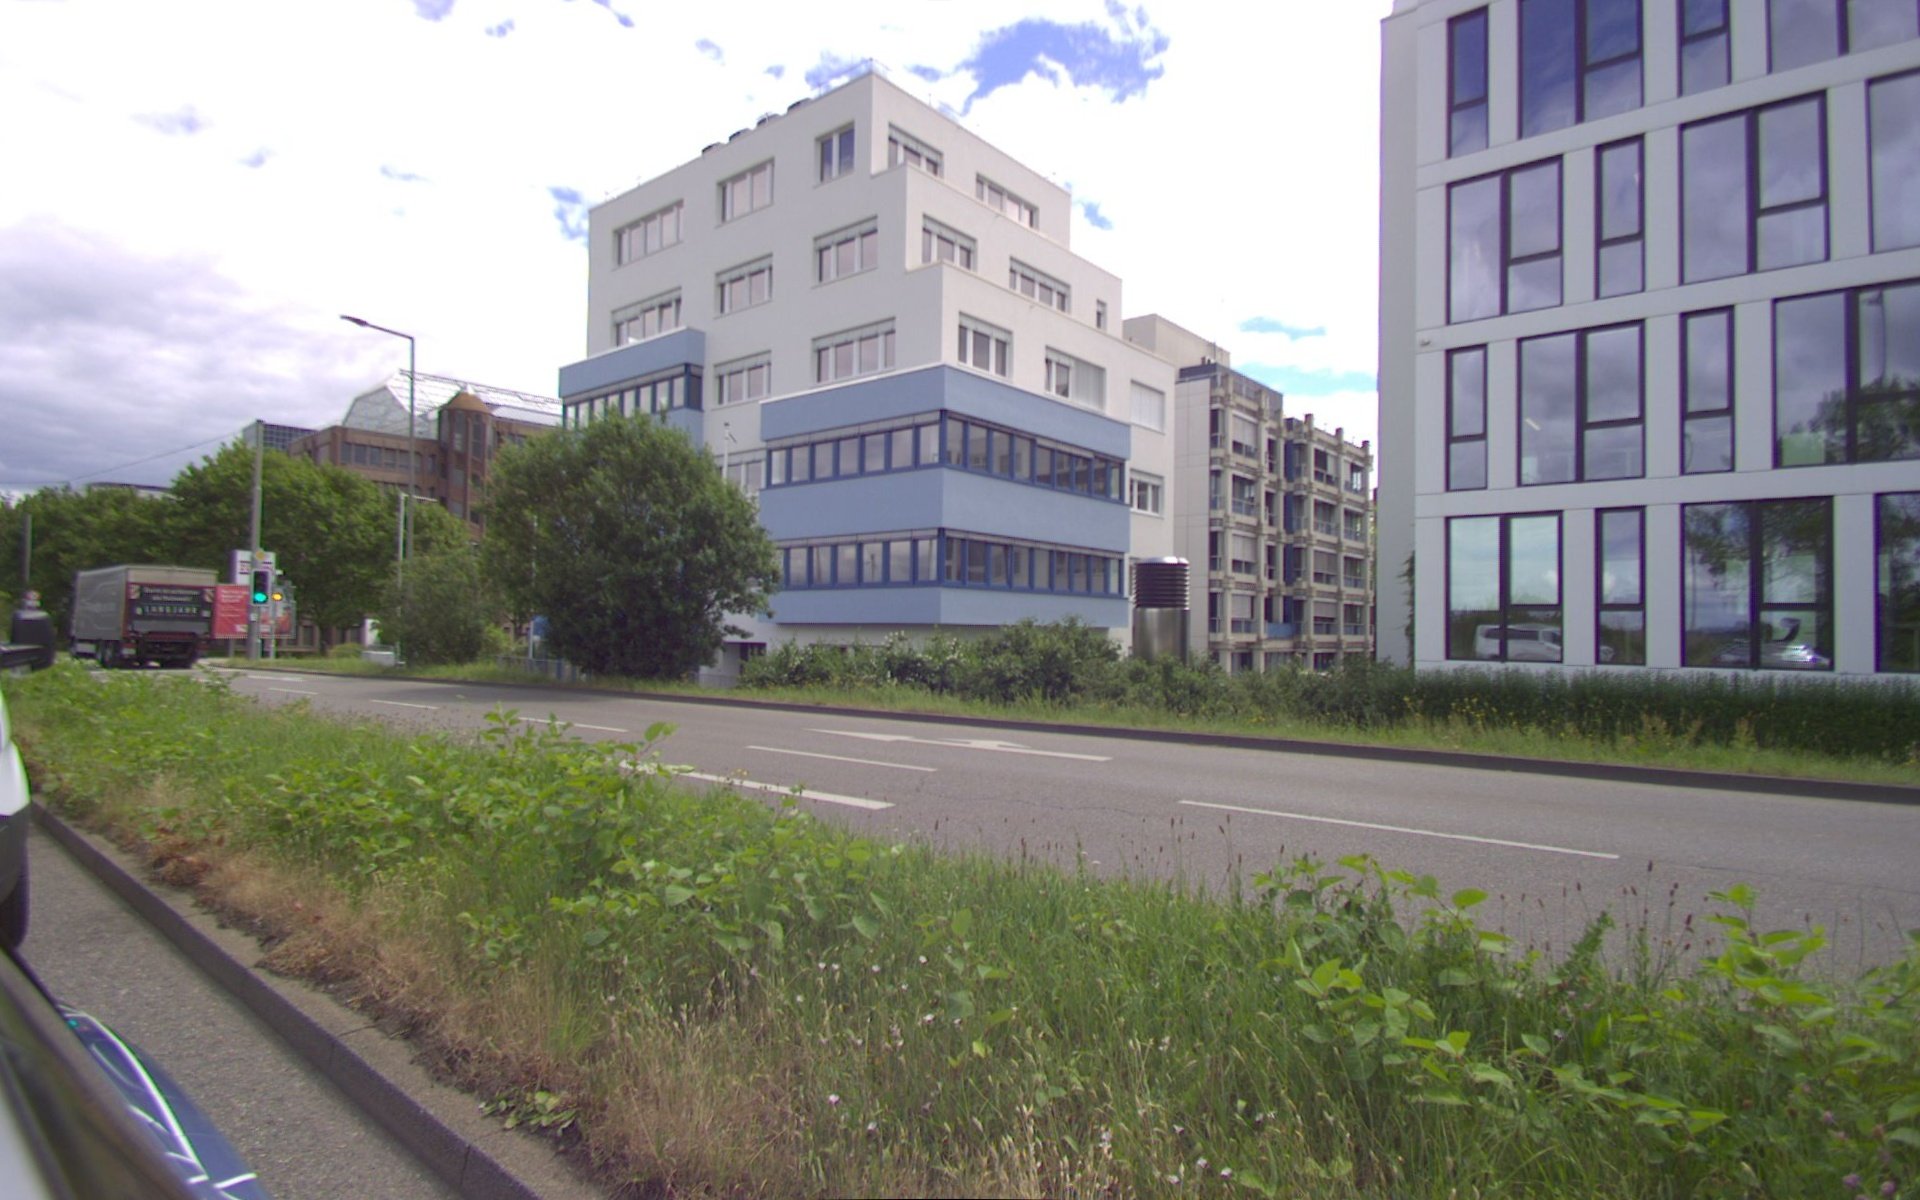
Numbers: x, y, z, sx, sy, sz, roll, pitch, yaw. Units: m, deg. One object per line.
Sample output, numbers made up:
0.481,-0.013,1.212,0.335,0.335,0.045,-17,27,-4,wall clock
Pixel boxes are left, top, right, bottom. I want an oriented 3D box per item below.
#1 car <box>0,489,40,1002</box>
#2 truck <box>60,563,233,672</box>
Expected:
-6.134,0.602,4.896,5.052,1.965,1.942,-2,-1,41,car
-30.097,0.688,37.238,9.519,3.545,3.135,-1,-3,40,truck
